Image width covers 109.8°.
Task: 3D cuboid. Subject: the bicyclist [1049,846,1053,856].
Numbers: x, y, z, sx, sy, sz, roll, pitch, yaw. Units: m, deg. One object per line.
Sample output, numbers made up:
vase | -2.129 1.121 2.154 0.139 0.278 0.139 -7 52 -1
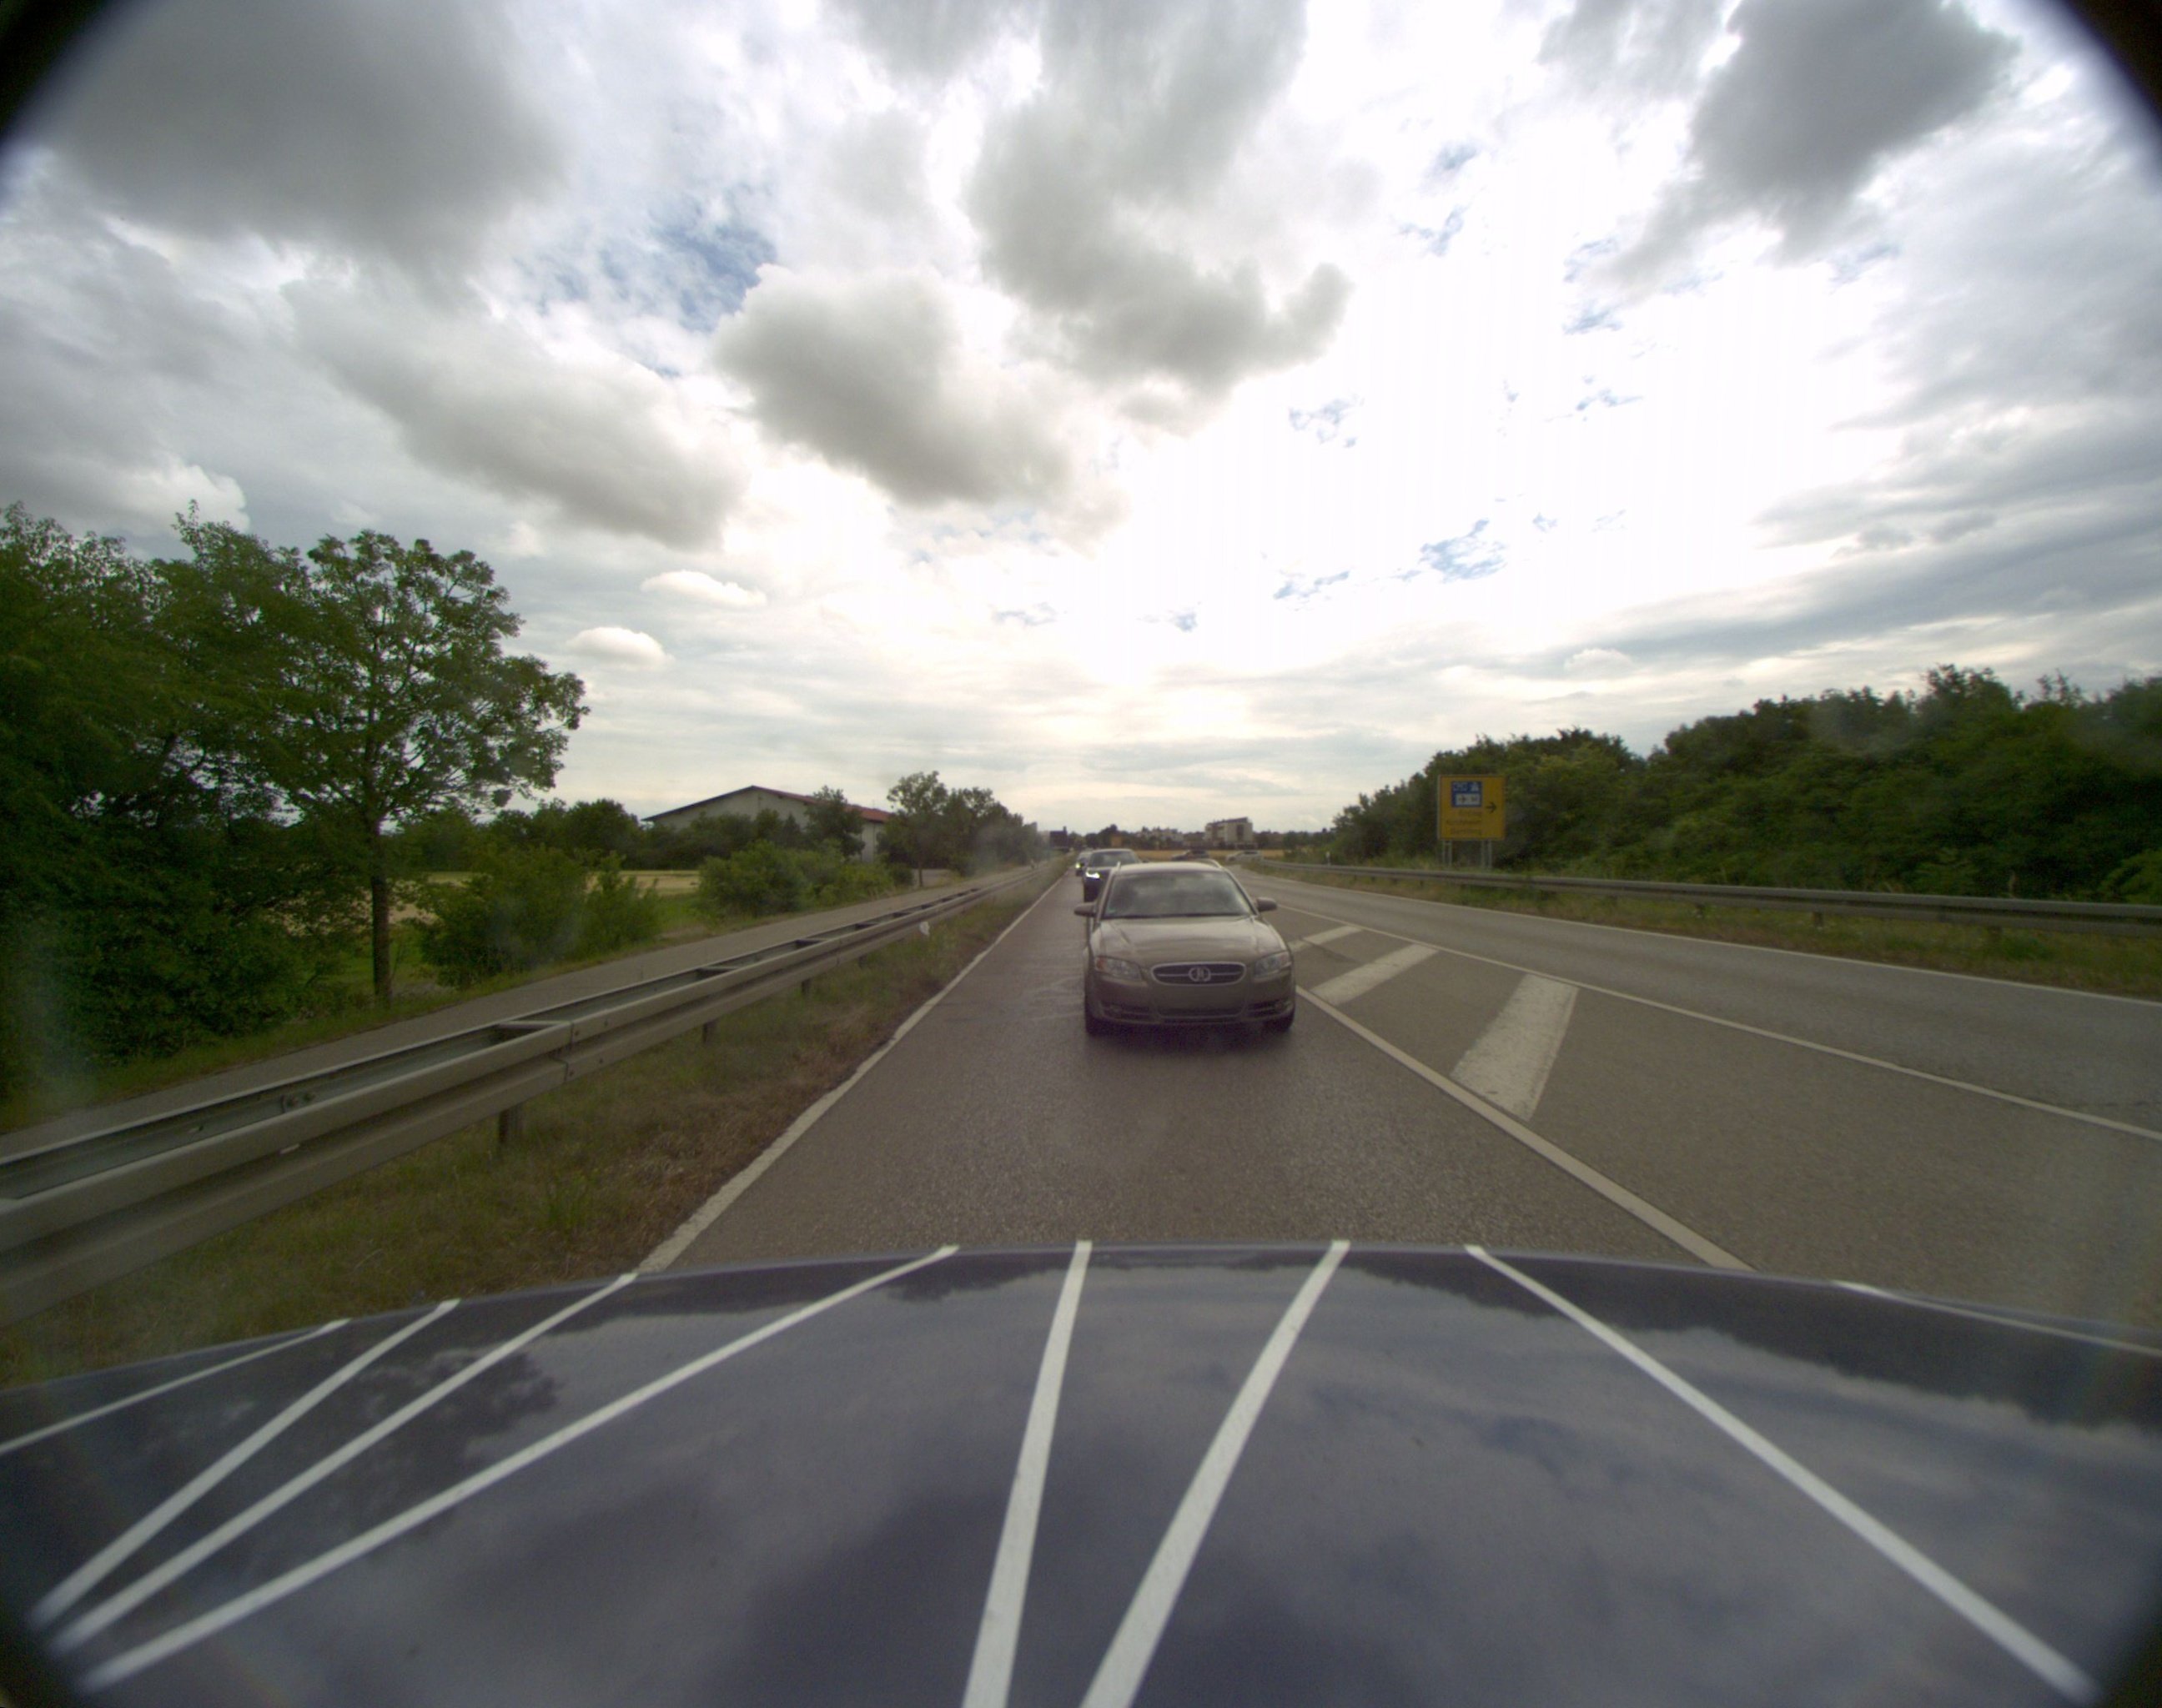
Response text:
bicyclist | -4.704 -0.415 119.743 0.640 1.573 0.969 -1 1 1

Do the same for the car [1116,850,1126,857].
car | 8.092 -0.072 155.455 1.804 1.442 4.445 -1 1 0

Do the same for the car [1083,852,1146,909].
car | 0.953 0.759 23.623 1.730 1.534 4.204 -2 0 0

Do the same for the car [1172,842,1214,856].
car | 13.826 -0.621 93.648 4.815 1.680 1.999 -1 1 -3

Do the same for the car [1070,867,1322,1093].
car | 0.814 0.912 7.374 1.730 1.436 4.204 -1 0 0

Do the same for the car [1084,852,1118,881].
car | 1.083 0.670 42.310 1.730 1.478 4.204 -2 0 0

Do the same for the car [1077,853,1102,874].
car | 0.621 0.652 56.606 1.730 1.436 4.204 -2 0 0

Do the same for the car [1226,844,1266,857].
car | 20.276 -0.411 93.586 4.672 1.490 2.001 -1 1 10

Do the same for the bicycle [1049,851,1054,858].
bicycle | -4.697 0.079 119.772 0.640 0.972 2.072 -1 1 1
